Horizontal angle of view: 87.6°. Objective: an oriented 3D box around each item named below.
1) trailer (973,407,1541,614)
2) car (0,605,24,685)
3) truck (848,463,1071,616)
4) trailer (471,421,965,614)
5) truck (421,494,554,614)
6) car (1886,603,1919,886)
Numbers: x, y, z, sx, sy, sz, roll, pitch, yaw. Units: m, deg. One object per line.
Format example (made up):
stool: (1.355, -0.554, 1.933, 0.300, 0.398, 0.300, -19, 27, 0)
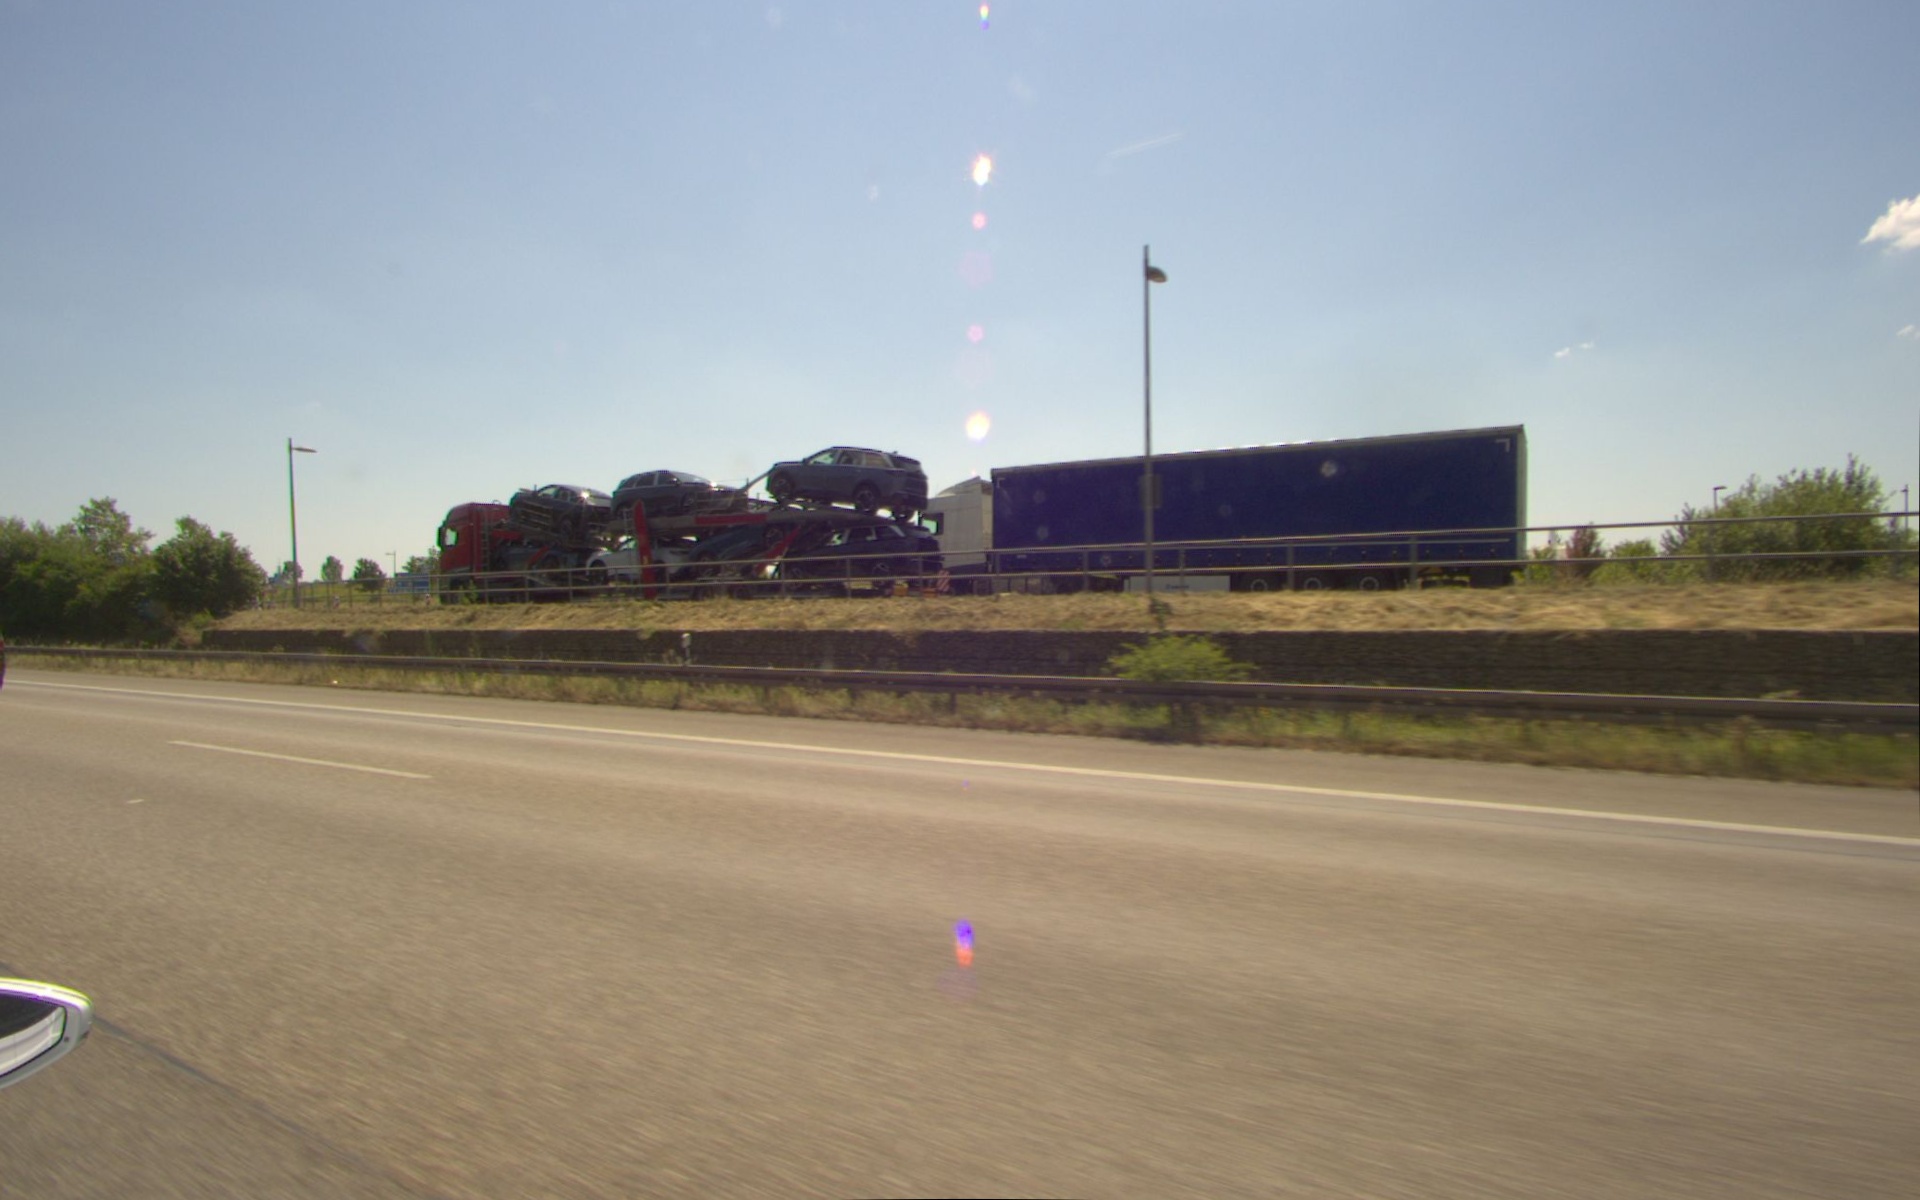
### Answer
trailer: (7.101, -1.835, 26.370, 14.057, 4.135, 3.047, -2, -2, 33)
car: (-24.317, 1.088, 23.771, 4.116, 1.862, 1.948, -1, 0, 30)
truck: (-0.057, -1.639, 30.993, 6.308, 4.135, 3.047, -1, -2, 33)
trailer: (-8.186, -1.899, 30.036, 18.161, 4.312, 2.601, -2, -2, 33)
truck: (-16.768, -1.514, 35.556, 3.943, 3.876, 2.598, -1, -2, 32)
car: (7.360, 0.790, 4.396, 4.520, 1.657, 1.865, -1, -2, 32)
